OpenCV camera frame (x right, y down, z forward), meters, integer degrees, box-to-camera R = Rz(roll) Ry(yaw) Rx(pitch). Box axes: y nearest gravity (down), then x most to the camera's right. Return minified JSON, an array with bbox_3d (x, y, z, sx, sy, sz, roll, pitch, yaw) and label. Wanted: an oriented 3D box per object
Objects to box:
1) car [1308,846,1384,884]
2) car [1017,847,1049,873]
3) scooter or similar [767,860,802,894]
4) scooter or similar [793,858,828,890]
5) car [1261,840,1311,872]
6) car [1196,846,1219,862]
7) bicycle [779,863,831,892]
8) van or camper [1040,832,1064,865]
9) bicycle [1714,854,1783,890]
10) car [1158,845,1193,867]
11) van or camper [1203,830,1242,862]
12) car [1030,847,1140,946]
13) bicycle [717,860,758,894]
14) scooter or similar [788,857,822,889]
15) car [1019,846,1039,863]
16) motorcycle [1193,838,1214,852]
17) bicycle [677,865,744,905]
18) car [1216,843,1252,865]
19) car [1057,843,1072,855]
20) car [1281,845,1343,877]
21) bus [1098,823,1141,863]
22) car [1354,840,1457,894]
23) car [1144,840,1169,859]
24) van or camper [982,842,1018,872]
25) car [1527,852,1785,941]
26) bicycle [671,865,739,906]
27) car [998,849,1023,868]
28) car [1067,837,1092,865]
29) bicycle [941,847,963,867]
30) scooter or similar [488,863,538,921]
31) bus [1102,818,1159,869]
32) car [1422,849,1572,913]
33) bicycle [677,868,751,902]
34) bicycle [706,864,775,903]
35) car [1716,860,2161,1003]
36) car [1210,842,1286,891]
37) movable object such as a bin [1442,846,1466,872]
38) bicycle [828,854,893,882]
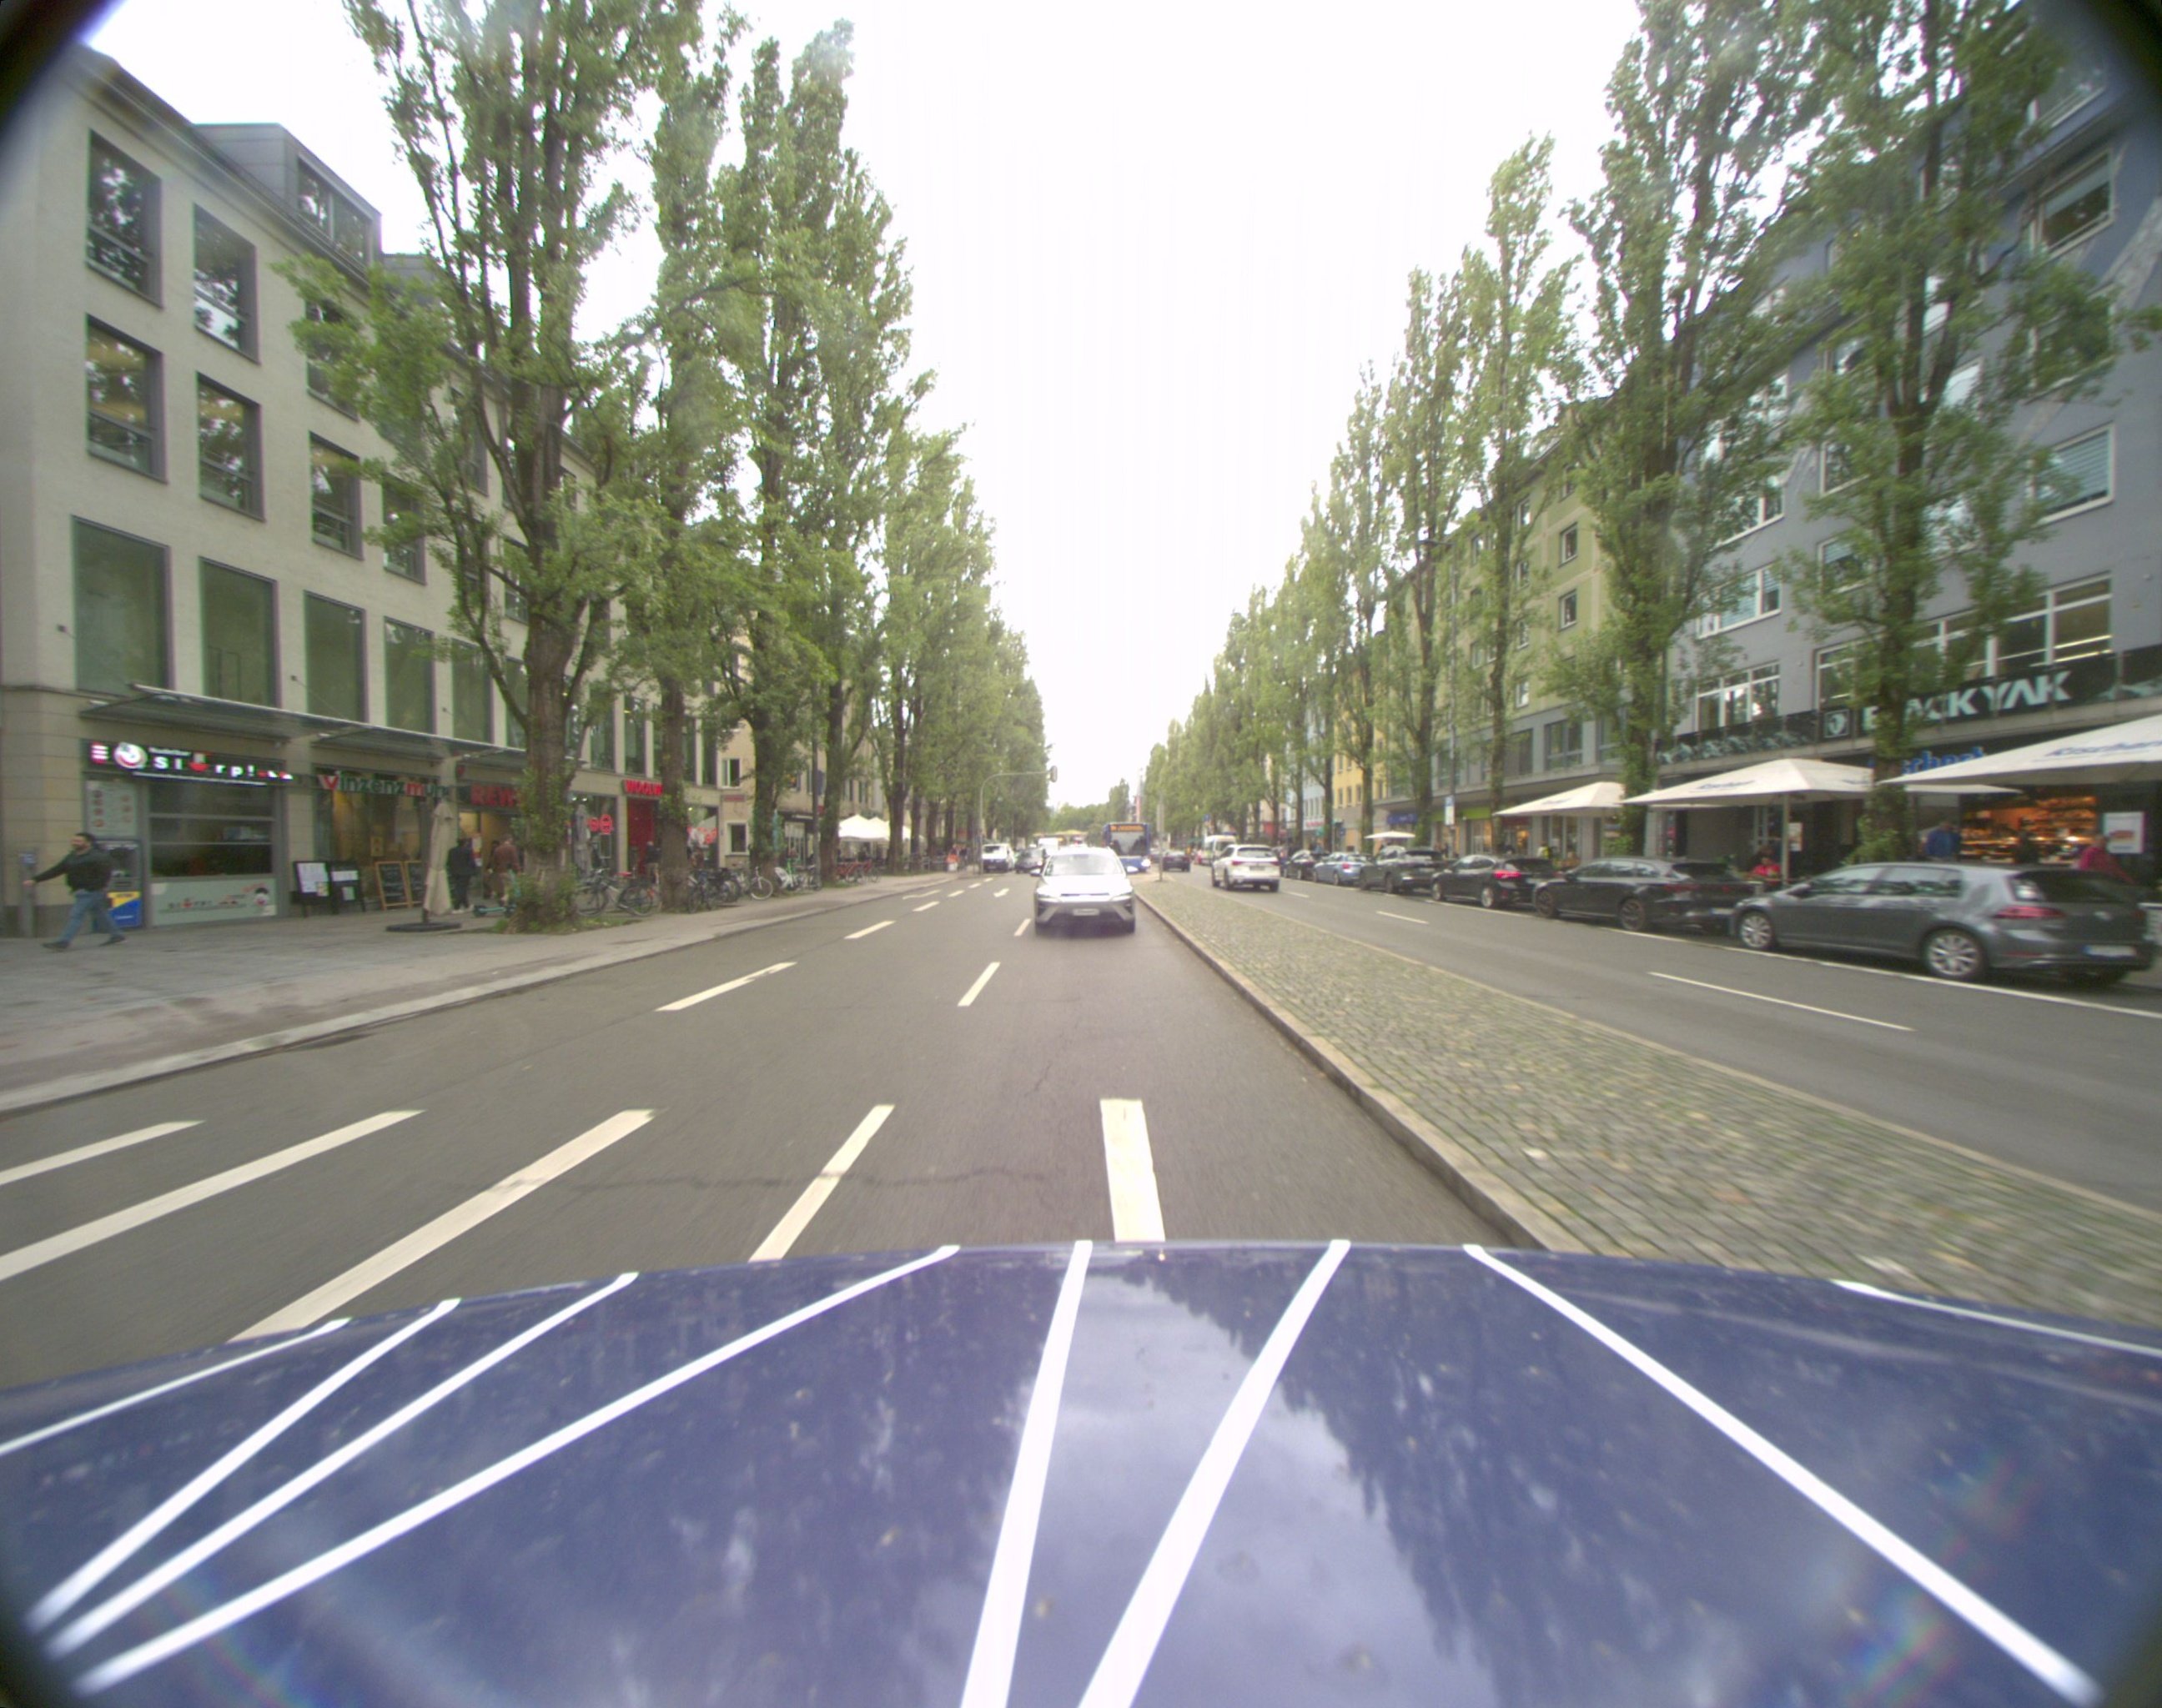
[{"bbox_3d":[11.273,0.421,32.667,1.662,1.410,4.399,1,2,-1],"label":"car"},{"bbox_3d":[-3.044,0.341,49.040,1.758,1.529,3.915,-2,1,0],"label":"car"},{"bbox_3d":[-10.529,0.793,26.970,1.241,1.163,0.404,1,3,30],"label":"scooter or similar"},{"bbox_3d":[-10.475,0.778,29.438,0.285,1.163,1.246,0,3,42],"label":"scooter or similar"},{"bbox_3d":[11.637,0.082,43.374,1.622,1.677,3.769,2,2,-2],"label":"car"},{"bbox_3d":[11.808,-0.047,71.084,1.559,1.403,3.760,0,1,1],"label":"car"},{"bbox_3d":[-10.178,0.849,27.994,1.842,1.004,0.393,1,2,9],"label":"bicycle"},{"bbox_3d":[-2.787,-0.471,74.223,1.998,2.468,6.651,-1,-6,1],"label":"van or camper"},{"bbox_3d":[20.966,0.545,23.903,0.618,1.091,1.579,-1,1,-11],"label":"bicycle"},{"bbox_3d":[6.207,0.107,50.222,1.841,1.353,4.175,2,1,1],"label":"car"},{"bbox_3d":[11.791,-0.703,63.921,2.131,2.536,6.642,-1,1,1],"label":"van or camper"},{"bbox_3d":[0.063,0.695,14.632,1.758,1.529,3.915,-3,1,0],"label":"car"},{"bbox_3d":[-11.814,0.772,26.196,0.392,1.057,2.005,1,1,4],"label":"bicycle"},{"bbox_3d":[-10.791,0.723,29.719,0.306,1.163,1.246,0,2,39],"label":"scooter or similar"},{"bbox_3d":[-4.728,0.027,69.890,1.476,1.518,3.602,-1,1,1],"label":"car"},{"bbox_3d":[12.449,-0.883,77.391,2.023,1.413,0.570,0,2,-7],"label":"motorcycle"},{"bbox_3d":[-10.638,0.888,21.832,1.666,1.101,0.396,0,2,-11],"label":"bicycle"},{"bbox_3d":[11.385,-0.062,56.839,1.707,1.520,4.259,1,2,-1],"label":"car"},{"bbox_3d":[-2.060,-0.654,95.982,1.758,1.529,3.915,-2,1,0],"label":"car"},{"bbox_3d":[11.329,0.289,37.582,1.707,1.438,4.584,0,2,0],"label":"car"},{"bbox_3d":[2.979,-0.920,62.442,2.806,2.887,12.854,0,1,0],"label":"bus"},{"bbox_3d":[11.296,0.381,26.823,1.784,1.671,4.585,1,2,2],"label":"car"},{"bbox_3d":[6.392,-0.387,64.304,1.761,1.457,4.049,1,2,1],"label":"car"},{"bbox_3d":[-5.428,0.153,51.517,1.795,1.894,4.565,-1,1,1],"label":"van or camper"},{"bbox_3d":[11.170,0.729,15.253,1.707,1.405,4.432,1,2,-1],"label":"car"},{"bbox_3d":[-10.593,0.884,21.423,1.679,1.111,0.285,0,2,-12],"label":"bicycle"},{"bbox_3d":[-5.227,0.305,56.727,1.476,1.389,3.482,0,1,1],"label":"car"},{"bbox_3d":[-0.112,-0.293,64.087,2.025,2.235,4.410,-2,1,0],"label":"car"},{"bbox_3d":[-9.264,0.193,54.511,0.829,1.403,2.594,-2,1,-25],"label":"bicycle"},{"bbox_3d":[-13.119,0.858,17.559,0.331,1.266,1.036,0,1,1],"label":"scooter or similar"},{"bbox_3d":[2.995,-0.714,49.573,2.806,2.887,12.854,0,1,0],"label":"bus"},{"bbox_3d":[11.129,0.654,20.743,1.681,1.458,4.369,1,2,0],"label":"car"},{"bbox_3d":[-11.226,0.955,23.281,2.005,0.982,0.392,-1,2,-8],"label":"bicycle"},{"bbox_3d":[-10.278,0.885,22.962,1.871,1.129,0.339,0,2,-8],"label":"bicycle"},{"bbox_3d":[11.066,0.853,10.222,1.497,1.374,4.185,1,2,0],"label":"car"},{"bbox_3d":[6.031,0.375,28.033,1.848,1.626,4.574,1,1,1],"label":"car"},{"bbox_3d":[15.539,0.208,31.636,0.731,1.041,0.661,-1,2,-39],"label":"movable object such as a bin"},{"bbox_3d":[-9.688,0.605,33.488,2.577,1.208,0.965,0,1,1],"label":"bicycle"}]
